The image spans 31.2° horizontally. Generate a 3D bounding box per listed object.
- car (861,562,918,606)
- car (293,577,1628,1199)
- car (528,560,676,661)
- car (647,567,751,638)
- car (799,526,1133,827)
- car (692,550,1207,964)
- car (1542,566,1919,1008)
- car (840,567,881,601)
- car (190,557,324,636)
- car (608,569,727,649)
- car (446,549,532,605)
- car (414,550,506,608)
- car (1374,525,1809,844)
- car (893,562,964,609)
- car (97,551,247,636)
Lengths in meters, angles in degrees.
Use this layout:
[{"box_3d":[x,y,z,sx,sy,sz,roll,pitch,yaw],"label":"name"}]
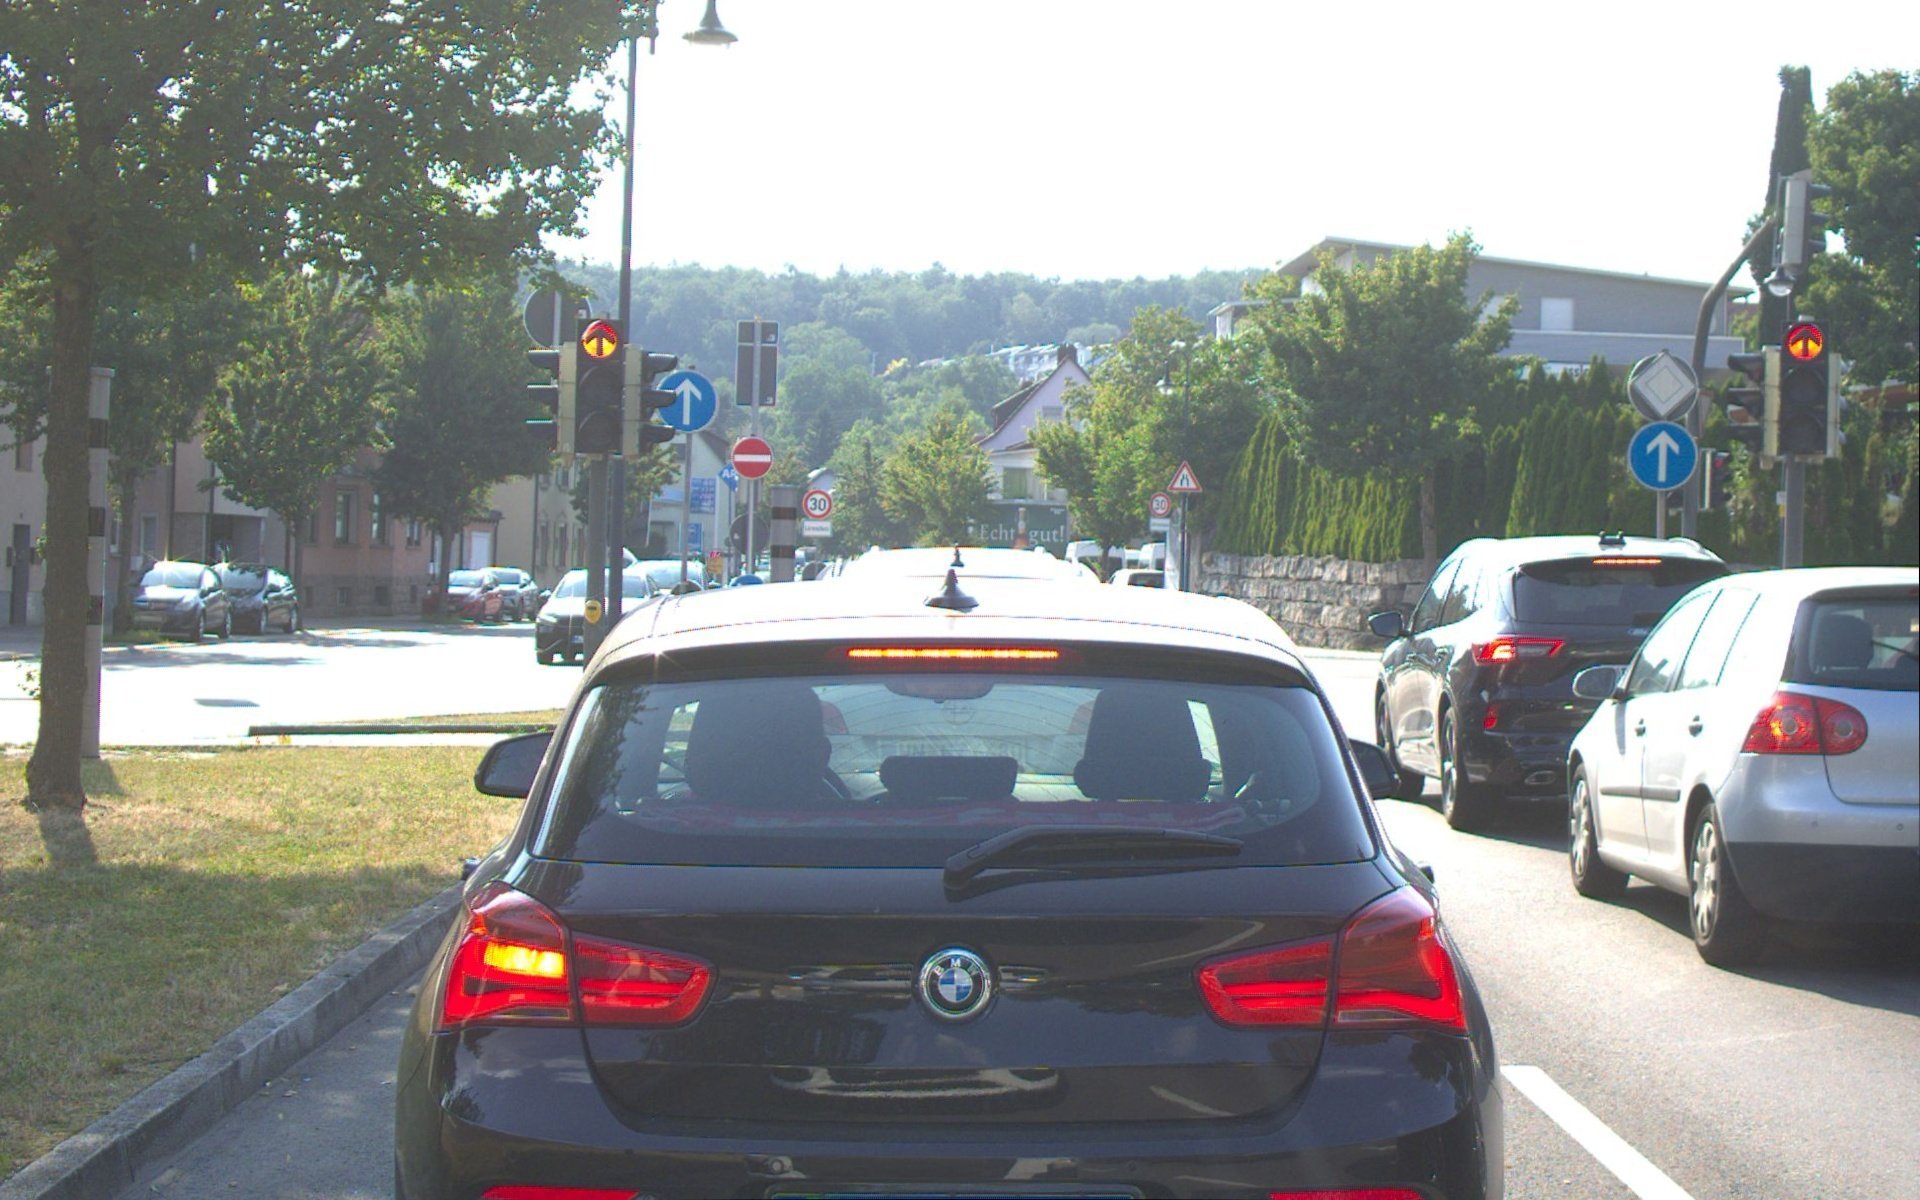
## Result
[{"box_3d":[-2.798,-0.637,135.690,1.890,1.696,4.525,-1,1,-6],"label":"car"},{"box_3d":[0.030,0.690,6.809,1.791,1.410,4.347,1,1,1],"label":"car"},{"box_3d":[-5.494,0.136,53.119,1.766,1.453,4.000,1,1,1],"label":"car"},{"box_3d":[-5.222,0.026,69.232,1.693,1.348,4.000,1,1,1],"label":"car"},{"box_3d":[0.067,0.386,20.983,1.816,1.635,4.242,1,1,1],"label":"car"},{"box_3d":[-0.003,0.526,14.353,1.816,1.446,4.242,1,1,1],"label":"car"},{"box_3d":[3.560,0.611,13.640,1.816,1.441,4.347,1,1,1],"label":"car"},{"box_3d":[-4.922,-0.796,170.177,1.924,1.590,4.000,1,1,-1],"label":"car"},{"box_3d":[-14.844,-0.099,72.812,1.924,1.590,4.000,1,1,1],"label":"car"},{"box_3d":[-5.237,0.143,61.932,1.693,1.348,4.000,1,1,1],"label":"car"},{"box_3d":[-14.059,-0.705,102.813,1.924,1.590,4.000,1,1,1],"label":"car"},{"box_3d":[-14.125,-0.617,97.308,1.924,1.590,4.000,1,1,1],"label":"car"},{"box_3d":[3.590,0.409,20.291,1.816,1.660,4.347,1,1,1],"label":"car"},{"box_3d":[-1.072,-0.507,114.149,1.861,1.480,4.660,1,1,-6],"label":"car"},{"box_3d":[-15.354,-0.154,67.179,1.924,1.590,4.000,1,1,1],"label":"car"}]
